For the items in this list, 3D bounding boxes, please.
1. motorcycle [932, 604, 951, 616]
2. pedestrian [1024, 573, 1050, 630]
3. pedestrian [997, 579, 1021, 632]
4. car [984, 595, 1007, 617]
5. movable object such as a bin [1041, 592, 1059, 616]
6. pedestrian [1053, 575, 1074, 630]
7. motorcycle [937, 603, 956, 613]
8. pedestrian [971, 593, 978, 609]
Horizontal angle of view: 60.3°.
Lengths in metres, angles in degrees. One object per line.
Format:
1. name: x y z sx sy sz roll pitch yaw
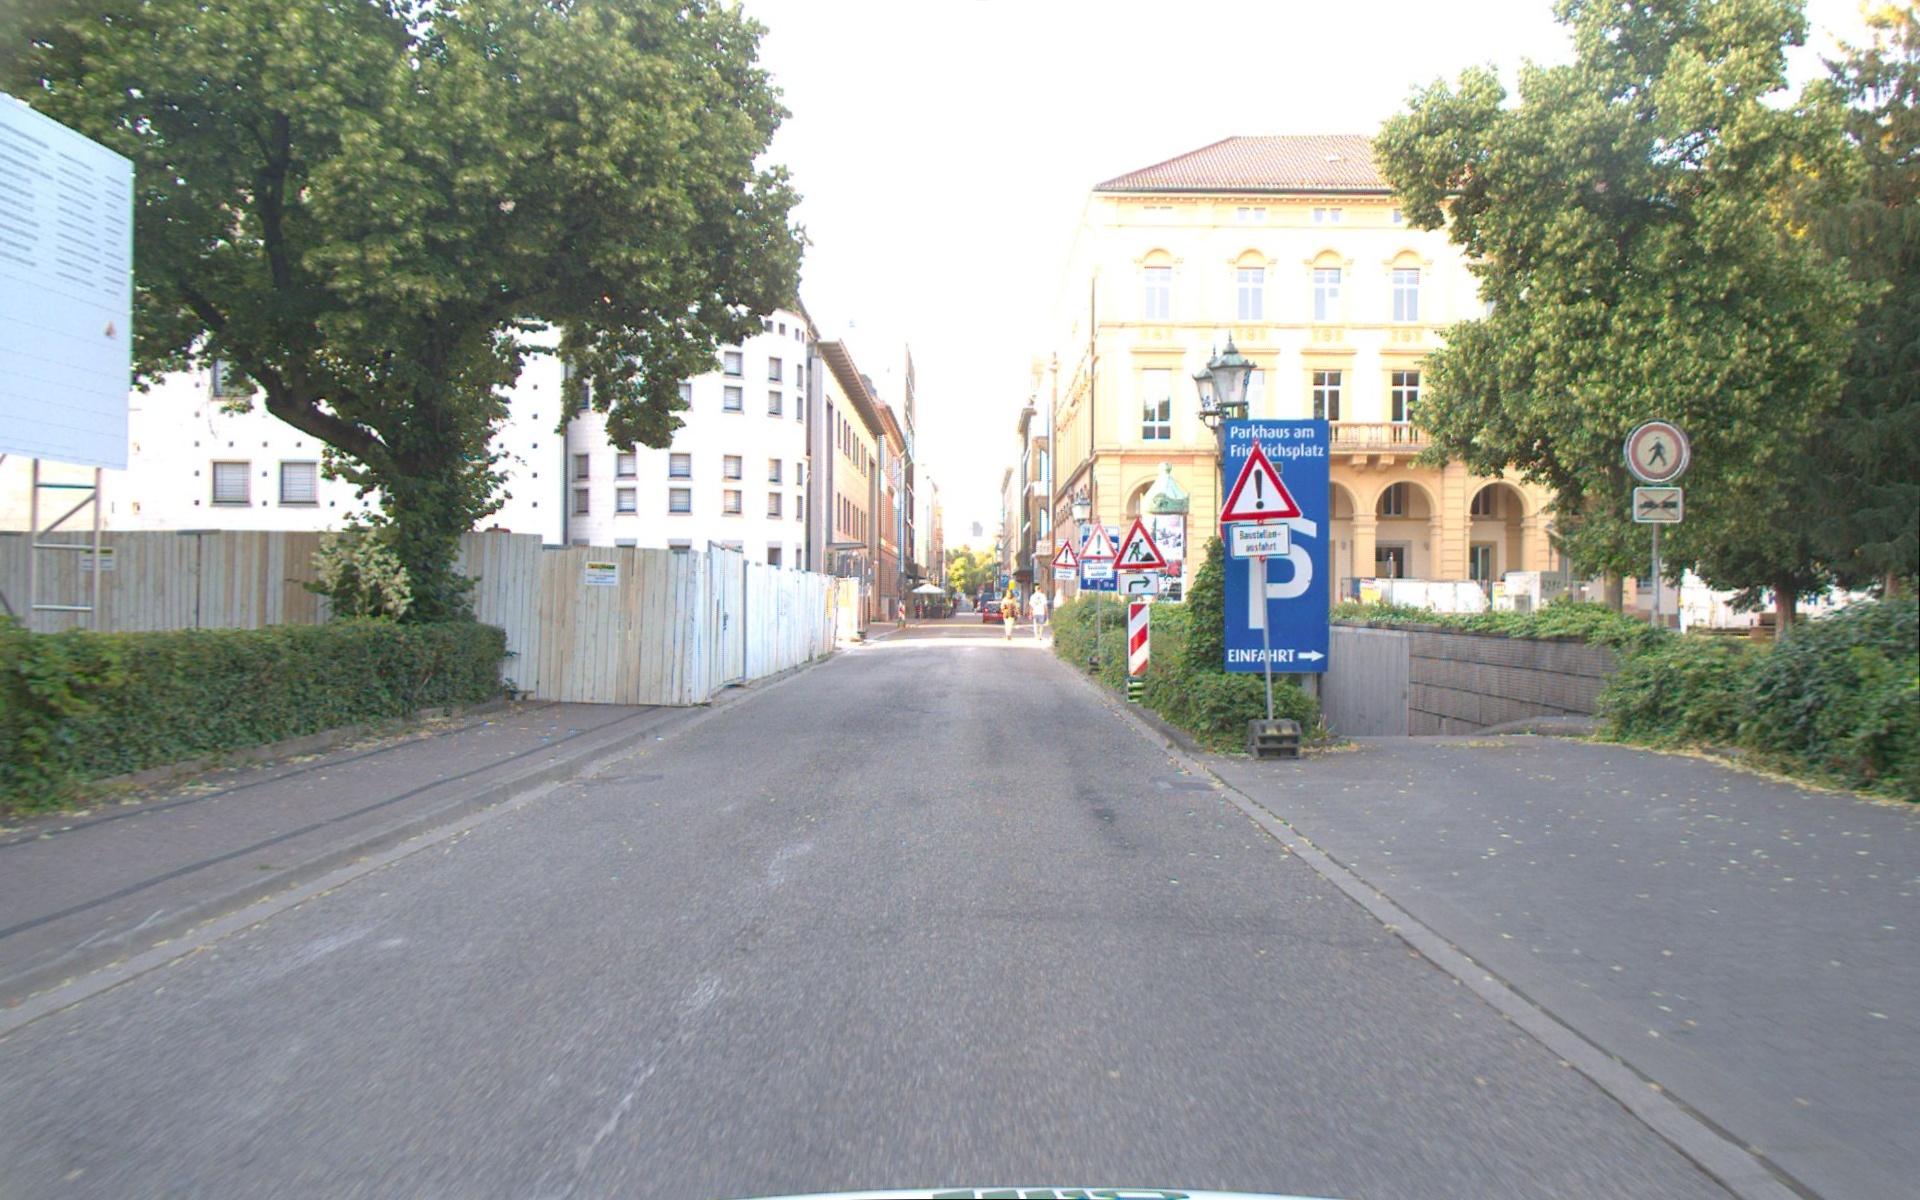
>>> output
1. motorcycle: -1.676 0.892 149.554 1.766 1.059 0.493 0 -1 -4
2. pedestrian: 2.633 0.061 56.544 0.795 1.908 0.875 -1 -1 -1
3. pedestrian: 1.673 0.174 56.317 0.760 1.777 0.875 -1 -1 -1
4. car: 2.521 0.432 117.780 1.615 1.452 3.535 3 0 1
5. movable object such as a bin: 5.259 0.235 96.879 0.970 1.416 1.240 -1 0 -1
6. pedestrian: 3.466 0.091 55.318 0.623 1.835 0.772 -1 -1 -1
7. motorcycle: -1.305 0.763 157.740 1.766 0.891 0.560 0 -1 -4
8. pedestrian: 1.608 0.125 181.049 0.788 1.702 0.888 0 -1 2
